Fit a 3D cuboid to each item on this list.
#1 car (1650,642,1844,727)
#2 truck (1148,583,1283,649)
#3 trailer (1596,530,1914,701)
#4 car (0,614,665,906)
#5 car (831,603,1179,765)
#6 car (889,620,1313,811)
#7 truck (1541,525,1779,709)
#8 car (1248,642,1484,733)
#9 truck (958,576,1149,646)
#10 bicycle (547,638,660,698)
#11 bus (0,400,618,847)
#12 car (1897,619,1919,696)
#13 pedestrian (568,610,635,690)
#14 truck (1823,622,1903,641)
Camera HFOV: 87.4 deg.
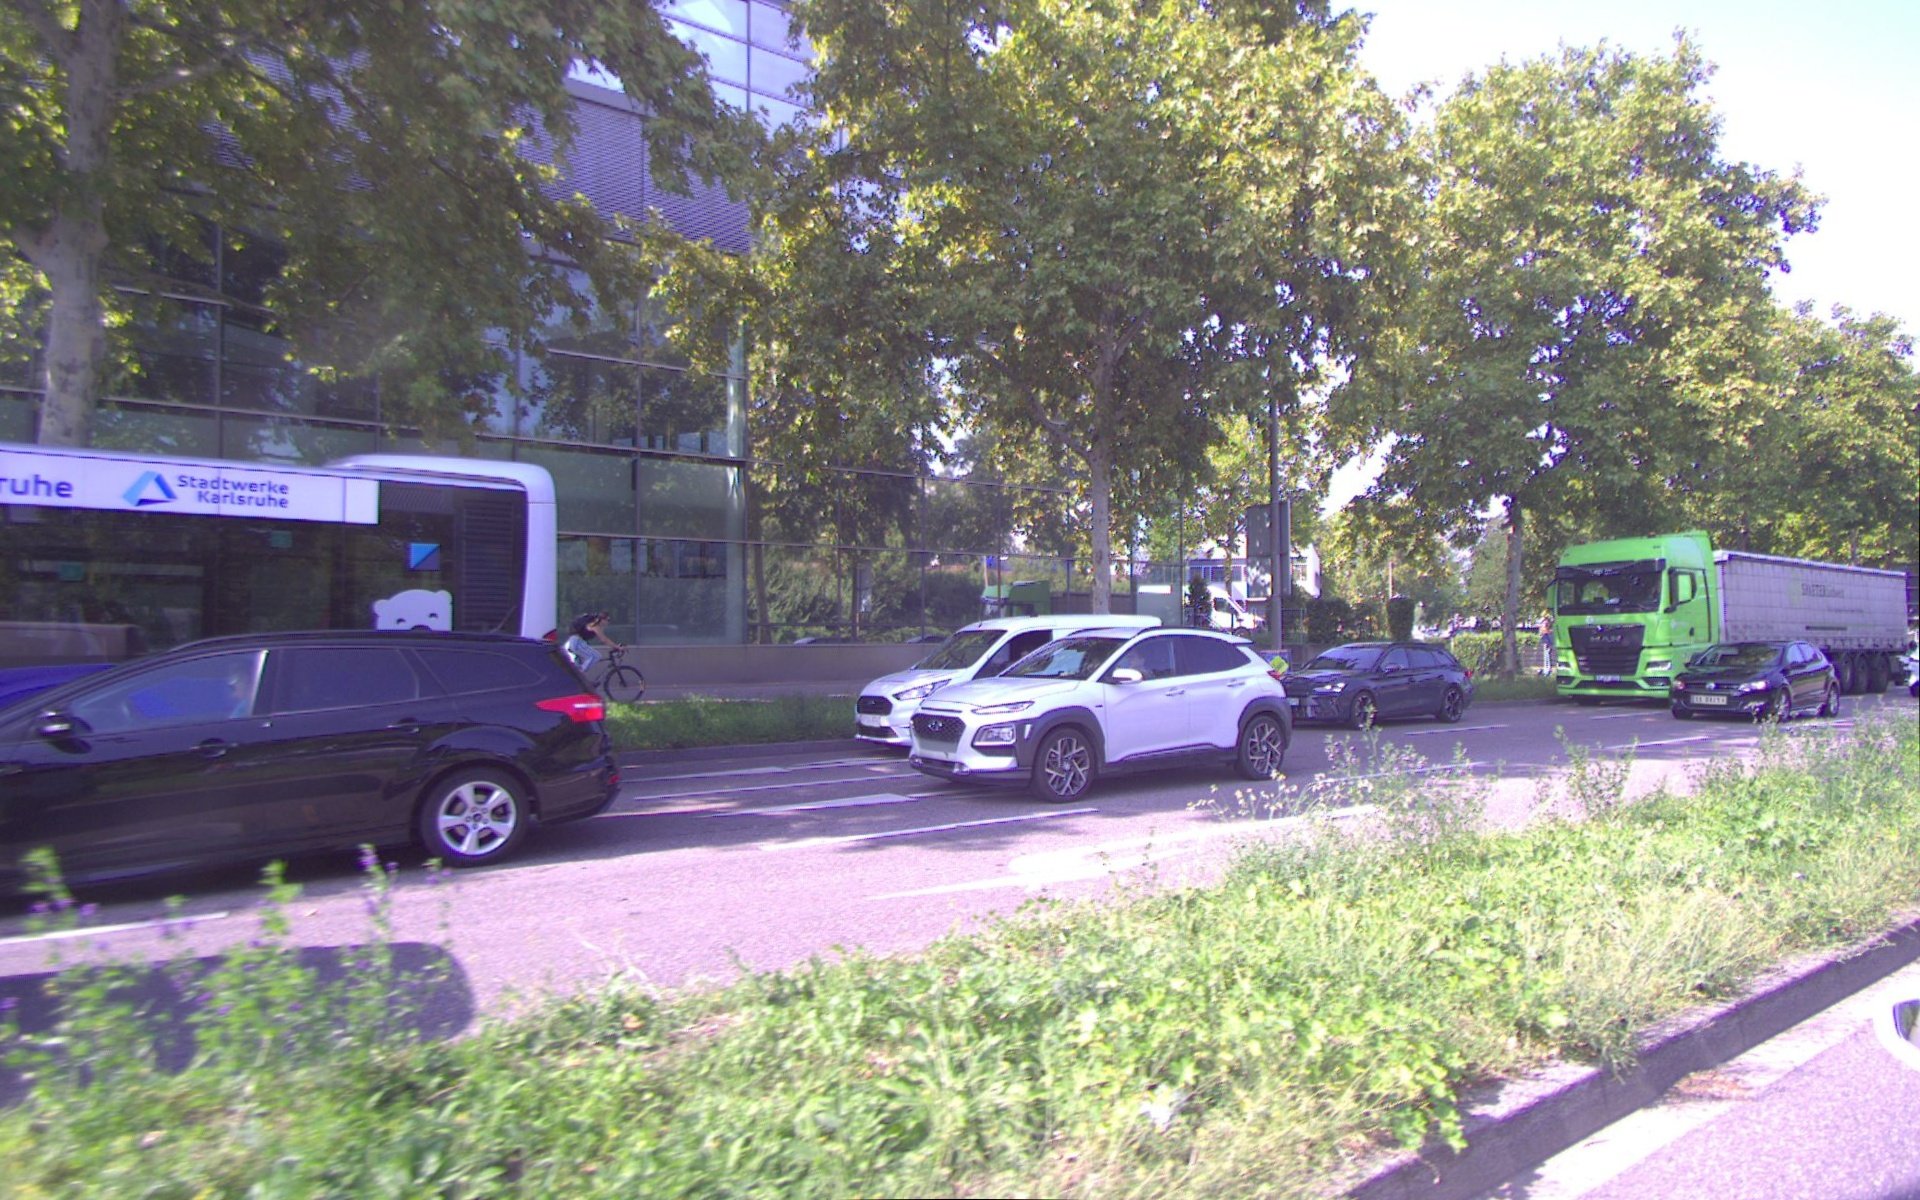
[{"bbox_3d":[14.607,1.514,18.603,3.815,1.417,1.606,2,-4,-32],"label":"car"},{"bbox_3d":[11.673,0.718,45.936,5.788,2.899,2.240,0,-1,20],"label":"truck"},{"bbox_3d":[22.186,0.599,27.529,13.666,3.871,2.618,2,-4,-34],"label":"trailer"},{"bbox_3d":[-4.182,0.876,6.400,4.144,1.451,1.638,2,-4,-33],"label":"car"},{"bbox_3d":[0.708,1.102,13.861,4.697,1.912,1.694,2,-4,-33],"label":"car"},{"bbox_3d":[1.482,1.038,9.997,4.096,1.548,1.685,2,-4,-33],"label":"car"},{"bbox_3d":[16.672,0.492,23.853,5.829,3.869,2.593,2,-4,-33],"label":"truck"},{"bbox_3d":[7.240,1.492,17.763,4.433,1.429,1.638,2,-4,-34],"label":"car"},{"bbox_3d":[4.303,0.567,44.839,9.020,2.898,1.984,2,-1,-30],"label":"truck"},{"bbox_3d":[-6.276,1.181,17.748,1.812,1.021,0.500,2,-2,-34],"label":"bicycle"},{"bbox_3d":[-8.984,0.123,7.077,12.179,3.120,2.575,2,-1,-33],"label":"bus"},{"bbox_3d":[26.974,1.522,26.655,4.983,1.979,1.982,2,-2,-34],"label":"car"},{"bbox_3d":[-6.321,0.874,17.714,1.021,1.367,0.495,1,-2,-34],"label":"pedestrian"},{"bbox_3d":[145.244,5.110,161.748,8.839,2.996,3.514,-1,-2,21],"label":"truck"}]
